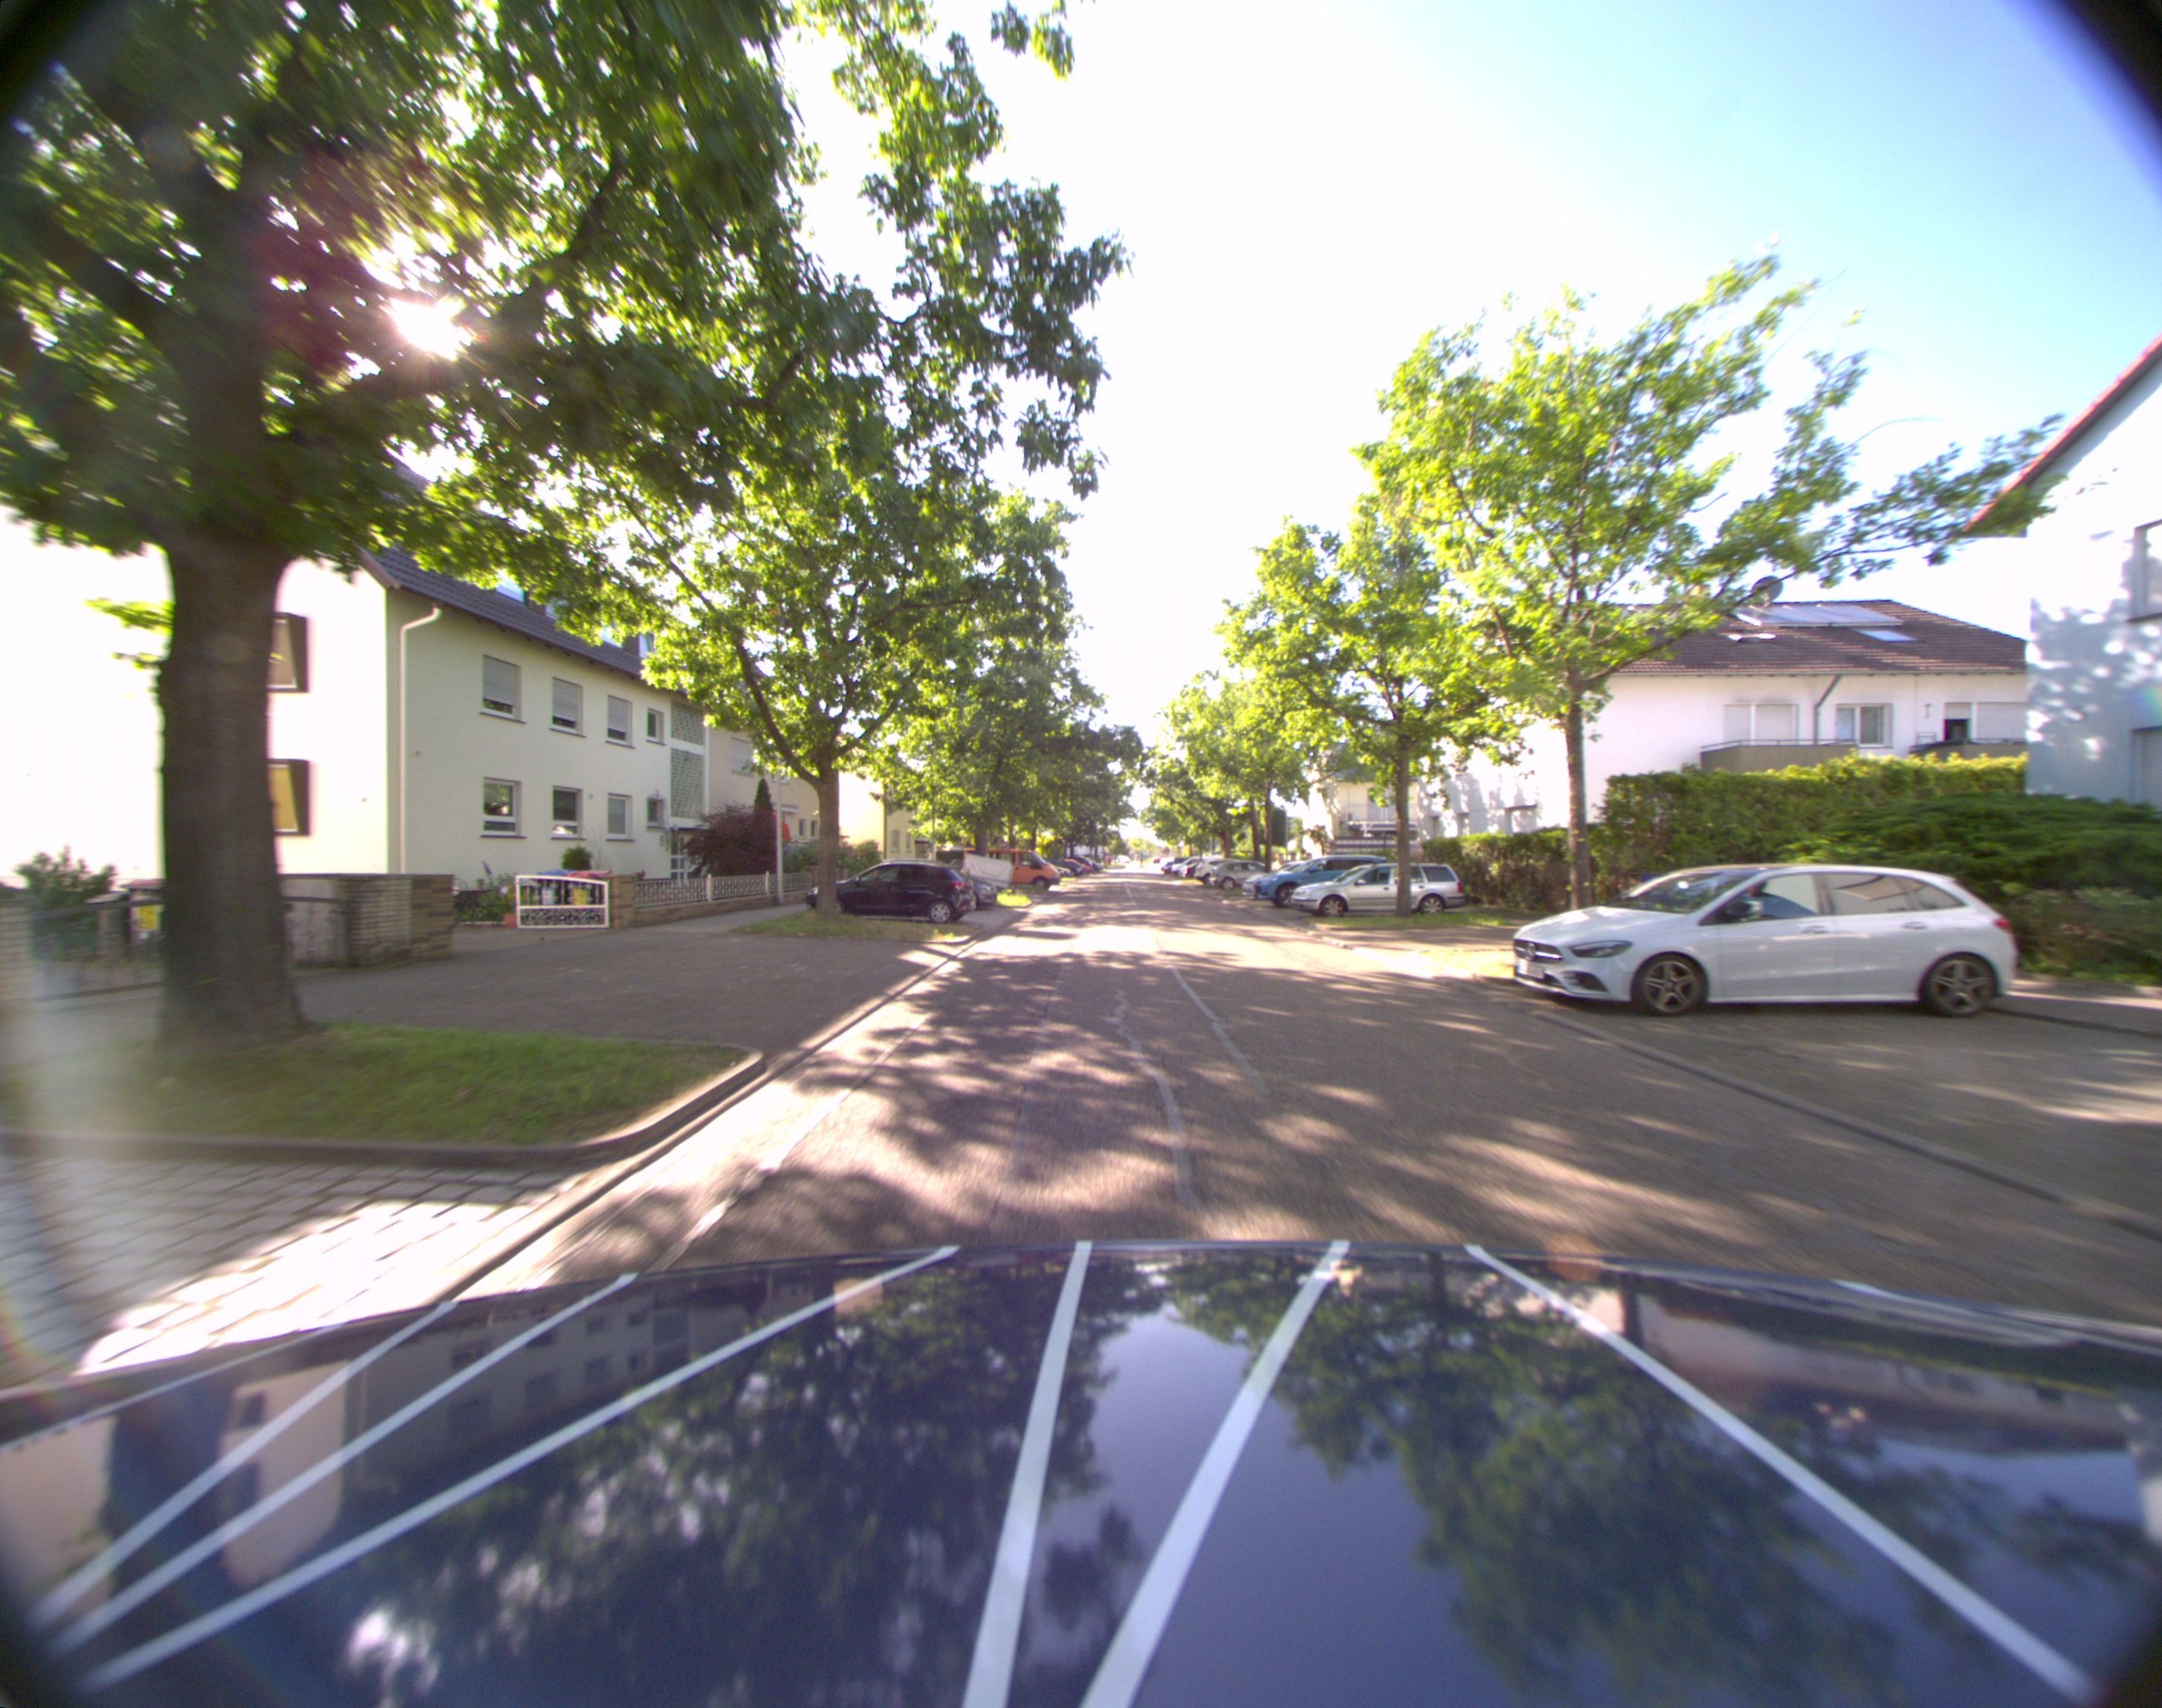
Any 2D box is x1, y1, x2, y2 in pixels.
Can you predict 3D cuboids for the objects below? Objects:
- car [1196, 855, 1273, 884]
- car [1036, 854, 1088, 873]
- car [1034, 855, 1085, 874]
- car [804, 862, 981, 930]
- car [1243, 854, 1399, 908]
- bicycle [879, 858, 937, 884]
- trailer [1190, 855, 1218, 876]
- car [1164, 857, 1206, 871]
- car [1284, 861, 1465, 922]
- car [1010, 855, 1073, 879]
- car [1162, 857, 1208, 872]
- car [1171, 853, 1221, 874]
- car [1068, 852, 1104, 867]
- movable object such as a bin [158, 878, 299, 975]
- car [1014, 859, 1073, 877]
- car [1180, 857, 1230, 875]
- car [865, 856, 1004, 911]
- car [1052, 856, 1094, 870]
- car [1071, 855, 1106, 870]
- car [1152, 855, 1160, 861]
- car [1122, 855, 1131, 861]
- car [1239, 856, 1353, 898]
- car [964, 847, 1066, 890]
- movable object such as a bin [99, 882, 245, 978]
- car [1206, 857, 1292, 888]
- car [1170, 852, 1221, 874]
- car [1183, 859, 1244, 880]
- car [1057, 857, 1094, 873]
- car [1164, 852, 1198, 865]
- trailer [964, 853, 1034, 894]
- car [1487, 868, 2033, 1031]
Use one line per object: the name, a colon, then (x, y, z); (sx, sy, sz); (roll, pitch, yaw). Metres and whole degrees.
car: (8.987, 0.901, 44.659); (4.196, 1.558, 1.792); (-2, 0, 5)
car: (-1.711, 0.855, 69.532); (4.584, 1.637, 1.838); (2, 0, 3)
car: (-1.835, 0.921, 66.702); (4.329, 1.521, 1.841); (2, 0, 3)
car: (-4.525, 0.986, 18.586); (3.891, 1.507, 1.661); (0, 1, 3)
car: (7.788, 0.863, 25.024); (4.534, 1.621, 1.938); (-1, 0, 4)
bicycle: (-8.872, 0.865, 39.091); (2.865, 1.230, 0.468); (2, 2, 3)
trailer: (10.142, 0.936, 62.575); (2.240, 1.664, 1.475); (0, 0, 7)
car: (11.368, 1.117, 82.985); (4.283, 1.416, 1.723); (1, 0, -3)
car: (7.702, 0.973, 20.229); (4.192, 1.483, 1.647); (-1, 1, 2)
car: (-2.782, 0.914, 54.326); (4.348, 1.551, 1.868); (1, 0, 2)
car: (10.526, 1.019, 77.401); (4.487, 1.491, 1.837); (0, 0, 3)
car: (10.589, 0.864, 70.194); (4.249, 1.760, 1.967); (-1, 0, 1)
car: (0.693, 0.734, 97.924); (4.512, 1.670, 1.879); (3, 1, 4)
movable object such as a bin: (-10.598, 0.880, 9.481); (0.704, 1.105, 0.906); (0, 1, 1)
car: (-2.897, 1.079, 59.151); (4.436, 1.323, 1.691); (0, 0, 6)
car: (10.563, 1.029, 65.064); (3.997, 1.507, 1.690); (0, 0, 0)
car: (-4.489, 0.906, 23.735); (3.997, 1.614, 1.757); (0, 1, 0)
car: (-0.836, 0.985, 85.426); (4.512, 1.437, 1.839); (1, 0, 5)
car: (0.943, 1.053, 94.911); (4.220, 1.771, 1.790); (2, 1, 5)
car: (17.546, 0.933, 177.343); (1.740, 1.531, 3.949); (0, 0, 9)
car: (11.457, 1.006, 190.408); (1.943, 1.412, 4.002); (0, 0, 7)
car: (8.359, 0.860, 29.779); (3.996, 1.586, 1.858); (0, 0, 3)
car: (-3.247, 0.690, 38.124); (4.829, 2.071, 2.086); (0, 0, 3)
movable object such as a bin: (-11.361, 0.928, 9.534); (0.704, 1.092, 0.906); (0, 1, 1)
car: (8.631, 0.955, 39.351); (4.043, 1.415, 1.810); (-2, 0, 1)
car: (10.195, 0.797, 67.703); (4.247, 1.933, 2.000); (0, 0, 1)
car: (9.494, 1.107, 54.818); (4.219, 1.463, 1.691); (0, 0, 6)
car: (-0.562, 1.162, 81.348); (3.785, 1.475, 1.756); (1, 1, 5)
car: (11.935, 0.547, 91.097); (4.009, 1.506, 1.796); (2, 0, 6)
trailer: (-3.571, 0.843, 33.492); (2.954, 1.654, 1.614); (2, 1, -3)
car: (7.056, 0.958, 8.279); (4.286, 1.469, 1.769); (-1, 0, 2)
